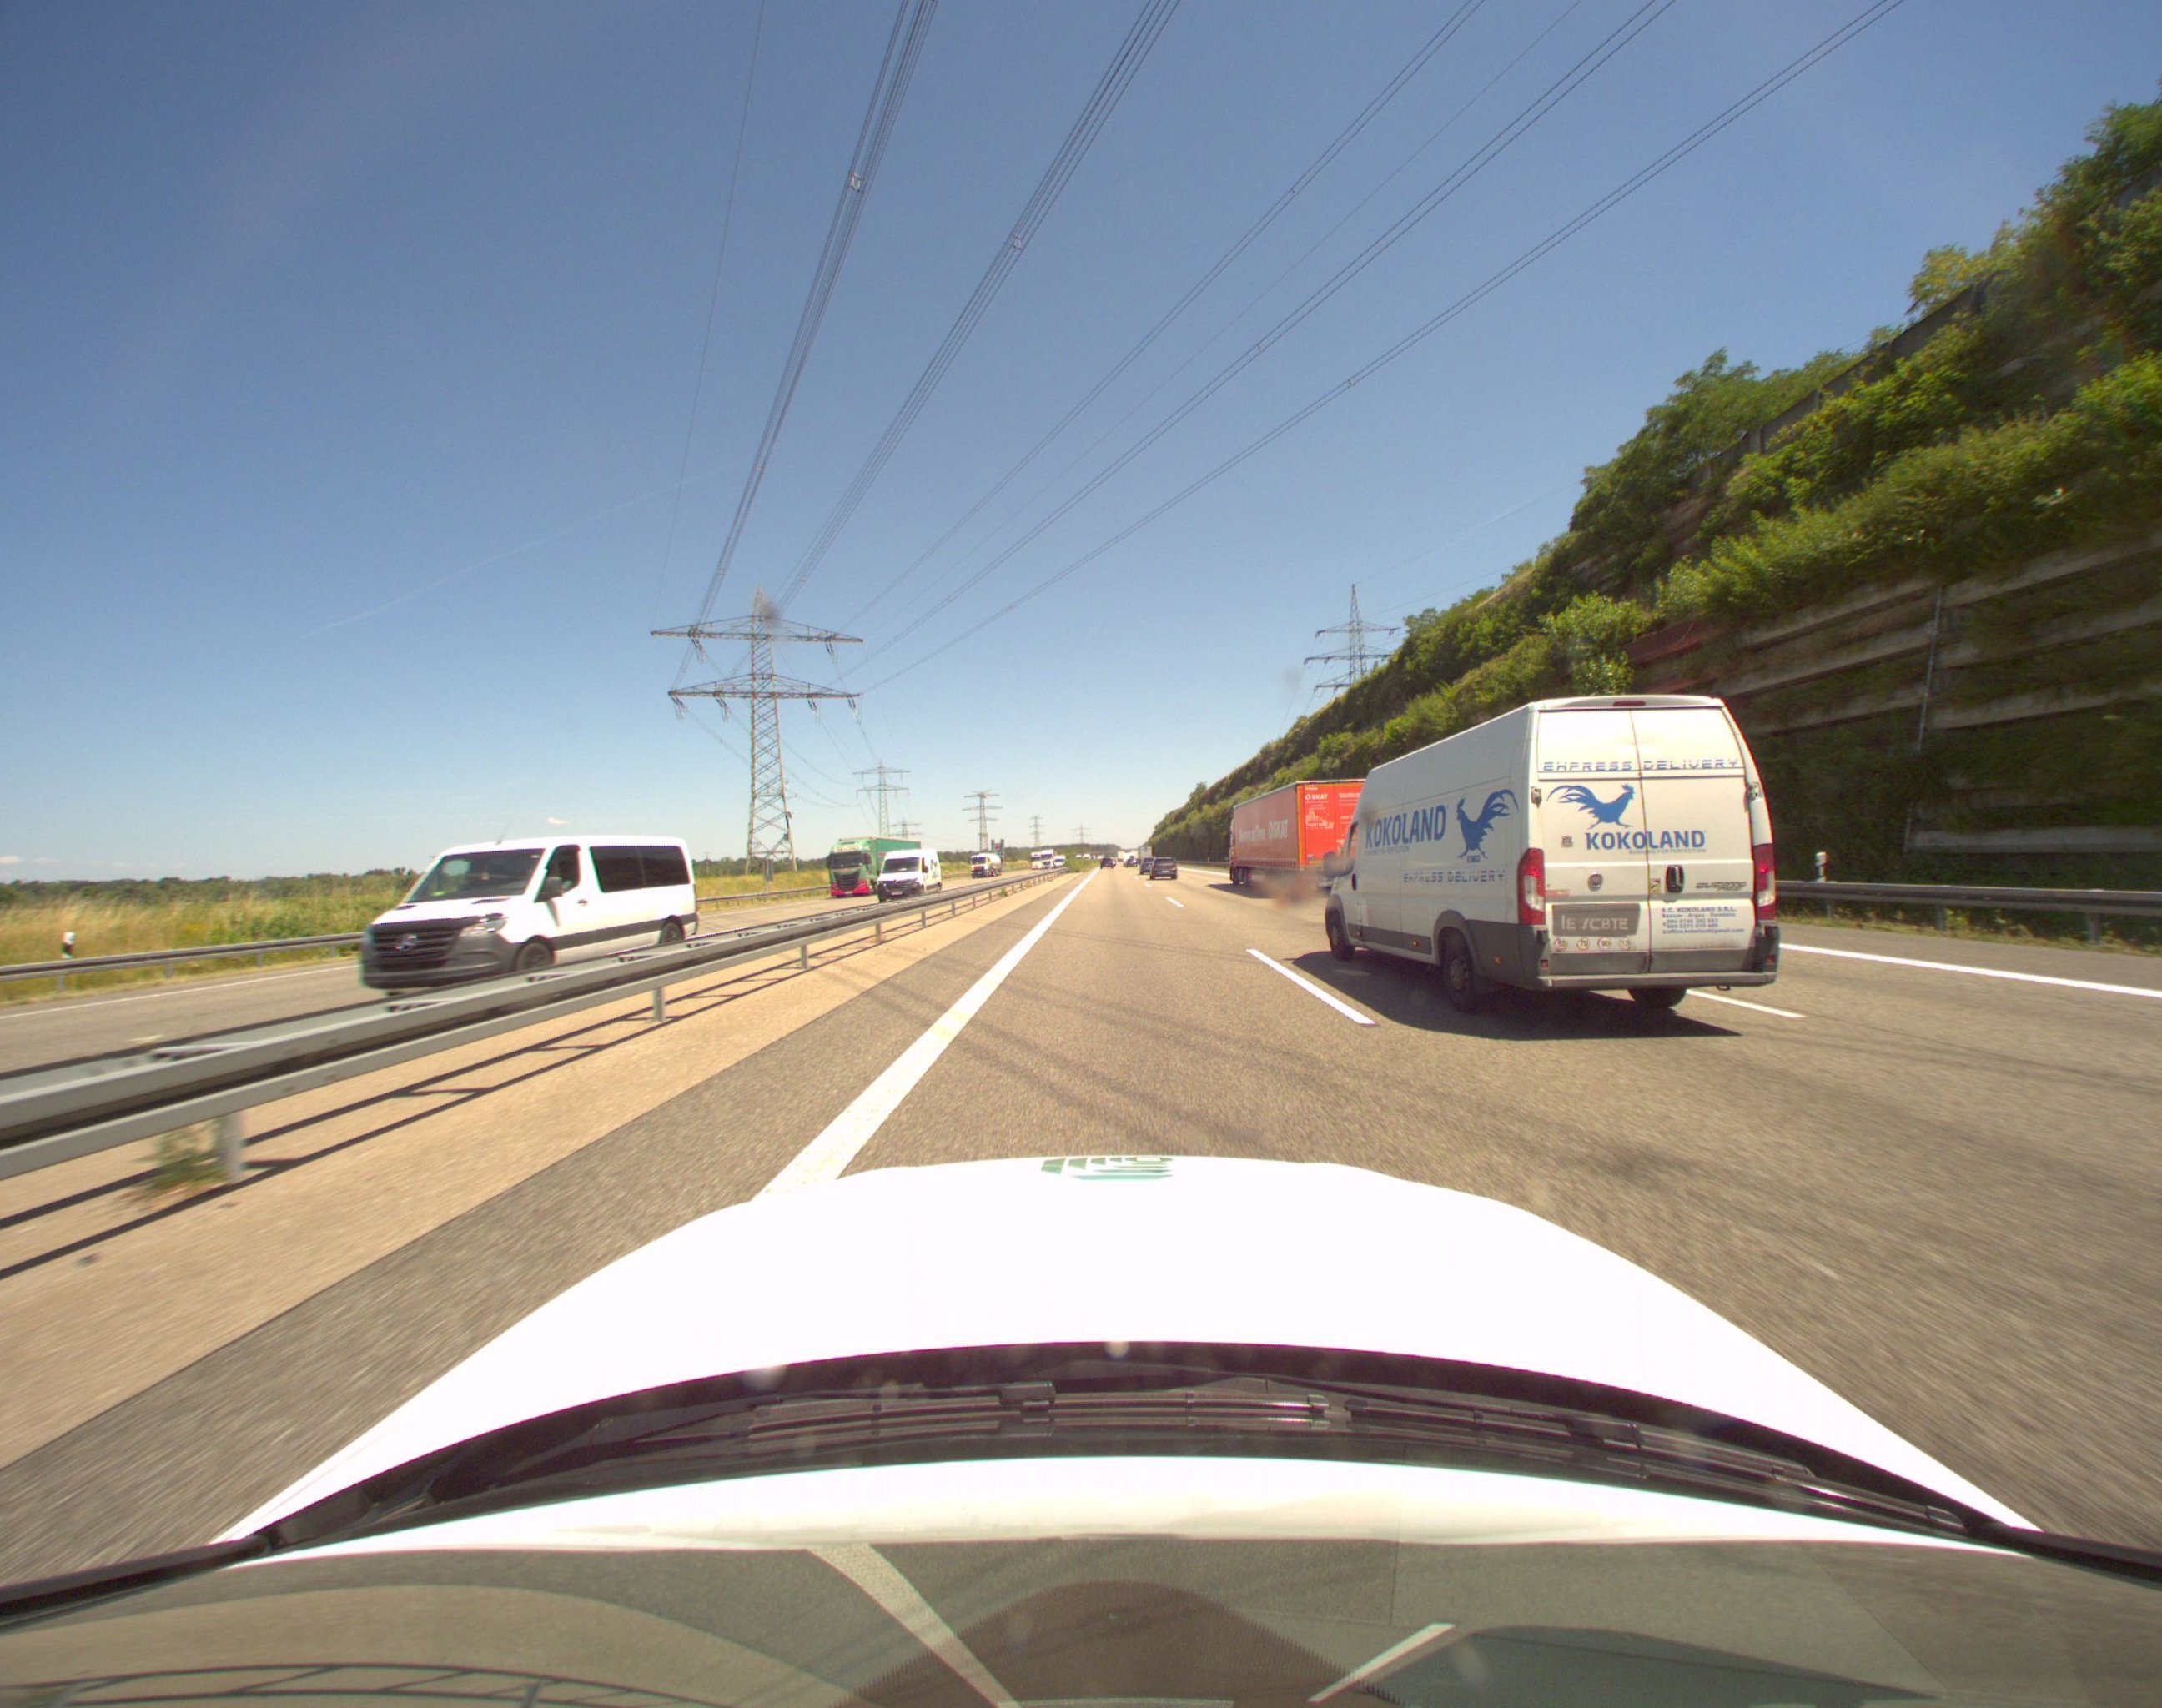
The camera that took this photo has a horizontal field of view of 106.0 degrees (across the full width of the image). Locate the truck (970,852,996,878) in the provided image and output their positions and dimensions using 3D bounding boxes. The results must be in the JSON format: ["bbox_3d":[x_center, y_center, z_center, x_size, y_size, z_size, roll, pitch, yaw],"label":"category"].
[{"bbox_3d":[-13.317,1.513,111.264,2.473,3.378,6.214,-3,0,2],"label":"truck"}]

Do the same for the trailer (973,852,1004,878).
[{"bbox_3d":[-13.082,1.479,116.438,2.406,3.372,11.571,-3,0,3],"label":"trailer"}]

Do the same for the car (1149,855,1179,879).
[{"bbox_3d":[5.829,0.904,57.538,1.743,1.525,3.997,-2,-1,2],"label":"car"}]

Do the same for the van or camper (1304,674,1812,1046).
[{"bbox_3d":[4.556,0.060,9.587,2.089,2.769,6.758,-2,0,1],"label":"van or camper"}]

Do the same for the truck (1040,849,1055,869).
[{"bbox_3d":[-7.188,1.123,176.760,2.590,4.211,5.912,-3,0,2],"label":"truck"}]

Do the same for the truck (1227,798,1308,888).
[{"bbox_3d":[9.079,-0.486,40.454,2.608,3.992,6.529,-2,0,2],"label":"truck"}]

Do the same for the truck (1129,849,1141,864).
[{"bbox_3d":[16.756,0.730,252.504,3.107,4.280,11.940,-3,-1,3],"label":"truck"}]

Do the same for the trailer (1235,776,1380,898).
[{"bbox_3d":[8.876,-0.536,34.136,2.635,4.005,13.612,-2,0,2],"label":"trailer"}]

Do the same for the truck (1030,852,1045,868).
[{"bbox_3d":[-10.352,1.466,195.478,2.825,3.751,6.850,-3,0,1],"label":"truck"}]

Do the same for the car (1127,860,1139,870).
[{"bbox_3d":[8.625,1.886,135.017,1.822,1.525,4.003,-3,-1,3],"label":"car"}]

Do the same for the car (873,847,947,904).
[{"bbox_3d":[-8.188,0.969,39.621,2.040,2.438,6.070,-4,0,1],"label":"car"}]

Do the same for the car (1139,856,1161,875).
[{"bbox_3d":[6.473,1.096,76.542,1.787,1.653,4.140,-2,0,2],"label":"car"}]

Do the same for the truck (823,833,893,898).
[{"bbox_3d":[-15.336,0.776,56.596,2.689,4.134,6.582,-3,0,2],"label":"truck"}]

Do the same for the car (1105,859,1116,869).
[{"bbox_3d":[5.300,1.729,145.730,1.823,1.670,4.002,-3,-1,2],"label":"car"}]

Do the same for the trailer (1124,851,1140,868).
[{"bbox_3d":[10.063,1.078,160.783,2.601,3.213,9.956,-3,-1,2],"label":"trailer"}]

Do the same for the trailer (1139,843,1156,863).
[{"bbox_3d":[15.013,-0.138,185.078,3.170,4.121,13.438,-3,-1,2],"label":"trailer"}]

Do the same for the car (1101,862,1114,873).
[{"bbox_3d":[4.079,2.059,126.274,1.823,1.670,4.002,-3,-1,2],"label":"car"}]

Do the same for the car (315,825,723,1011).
[{"bbox_3d":[-8.755,0.846,13.898,2.101,2.298,6.708,-3,0,1],"label":"car"}]

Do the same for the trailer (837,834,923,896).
[{"bbox_3d":[-15.149,0.786,62.783,2.659,4.085,13.920,-3,0,1],"label":"trailer"}]

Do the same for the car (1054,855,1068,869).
[{"bbox_3d":[-3.687,1.543,151.305,1.985,2.437,6.034,-3,0,3],"label":"car"}]
